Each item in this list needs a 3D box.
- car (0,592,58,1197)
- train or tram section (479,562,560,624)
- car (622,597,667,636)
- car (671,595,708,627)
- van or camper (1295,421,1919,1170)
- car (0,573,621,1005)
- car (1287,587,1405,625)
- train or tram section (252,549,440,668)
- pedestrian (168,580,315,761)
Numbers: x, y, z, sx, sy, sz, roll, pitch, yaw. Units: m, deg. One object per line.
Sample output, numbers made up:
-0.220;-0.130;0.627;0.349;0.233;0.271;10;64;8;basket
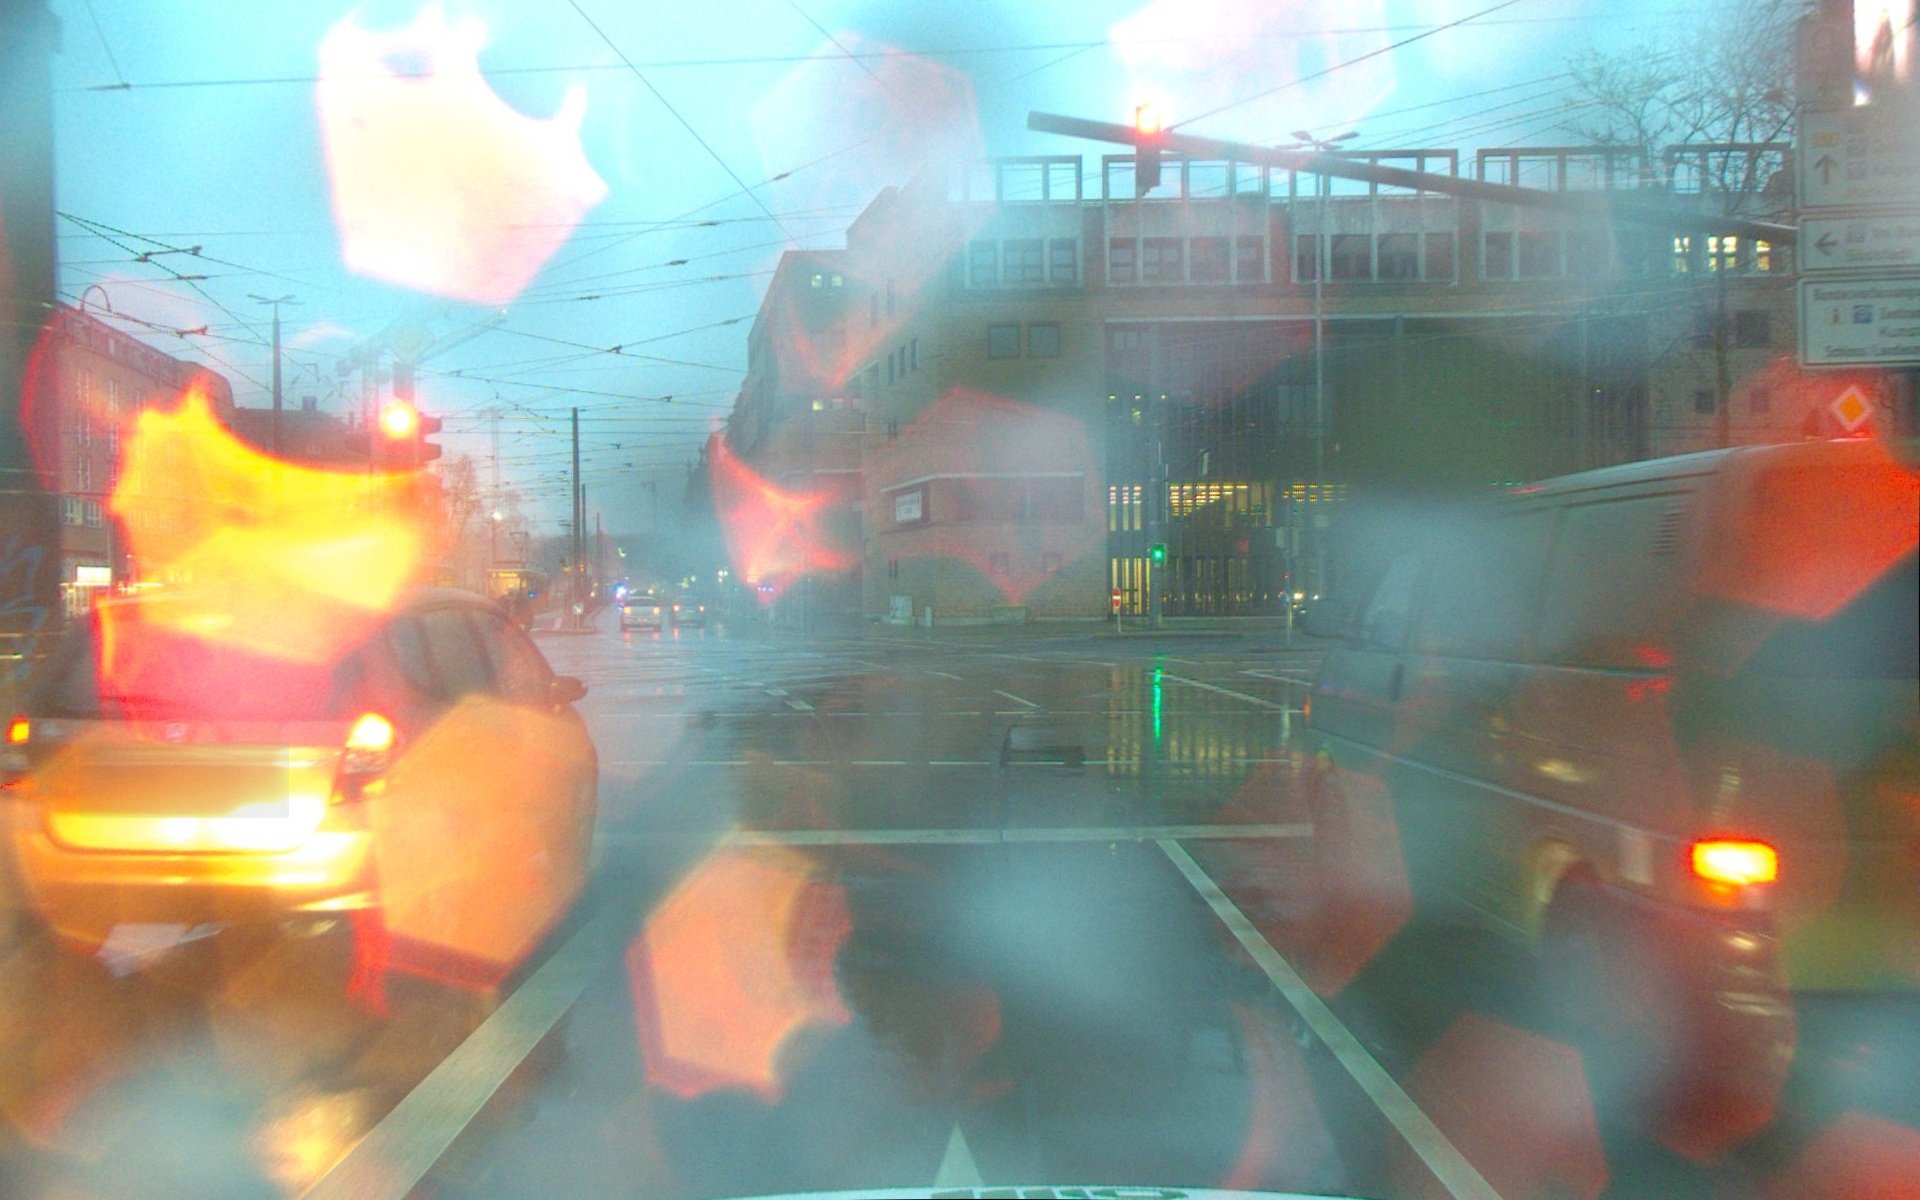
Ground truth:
-3.121;0.695;2.216;1.671;1.473;3.999;1;0;-1;car
-28.802;-0.441;109.443;3.134;3.496;27.756;-1;0;-11;train or tram section
-13.912;0.696;73.003;1.837;1.606;3.989;2;0;-11;car
-14.141;0.559;86.629;1.836;1.606;3.992;2;0;-9;car
2.685;0.500;6.521;1.721;1.940;4.417;1;0;-1;van or camper
-2.771;0.652;7.665;1.663;1.485;3.756;-1;0;-1;car
14.505;0.233;62.264;3.909;1.333;1.998;-1;0;-5;car
-22.357;0.246;61.798;2.812;3.677;20.024;-1;0;-10;train or tram section
-6.814;0.652;15.706;0.702;1.629;1.031;-3;-1;40;pedestrian
